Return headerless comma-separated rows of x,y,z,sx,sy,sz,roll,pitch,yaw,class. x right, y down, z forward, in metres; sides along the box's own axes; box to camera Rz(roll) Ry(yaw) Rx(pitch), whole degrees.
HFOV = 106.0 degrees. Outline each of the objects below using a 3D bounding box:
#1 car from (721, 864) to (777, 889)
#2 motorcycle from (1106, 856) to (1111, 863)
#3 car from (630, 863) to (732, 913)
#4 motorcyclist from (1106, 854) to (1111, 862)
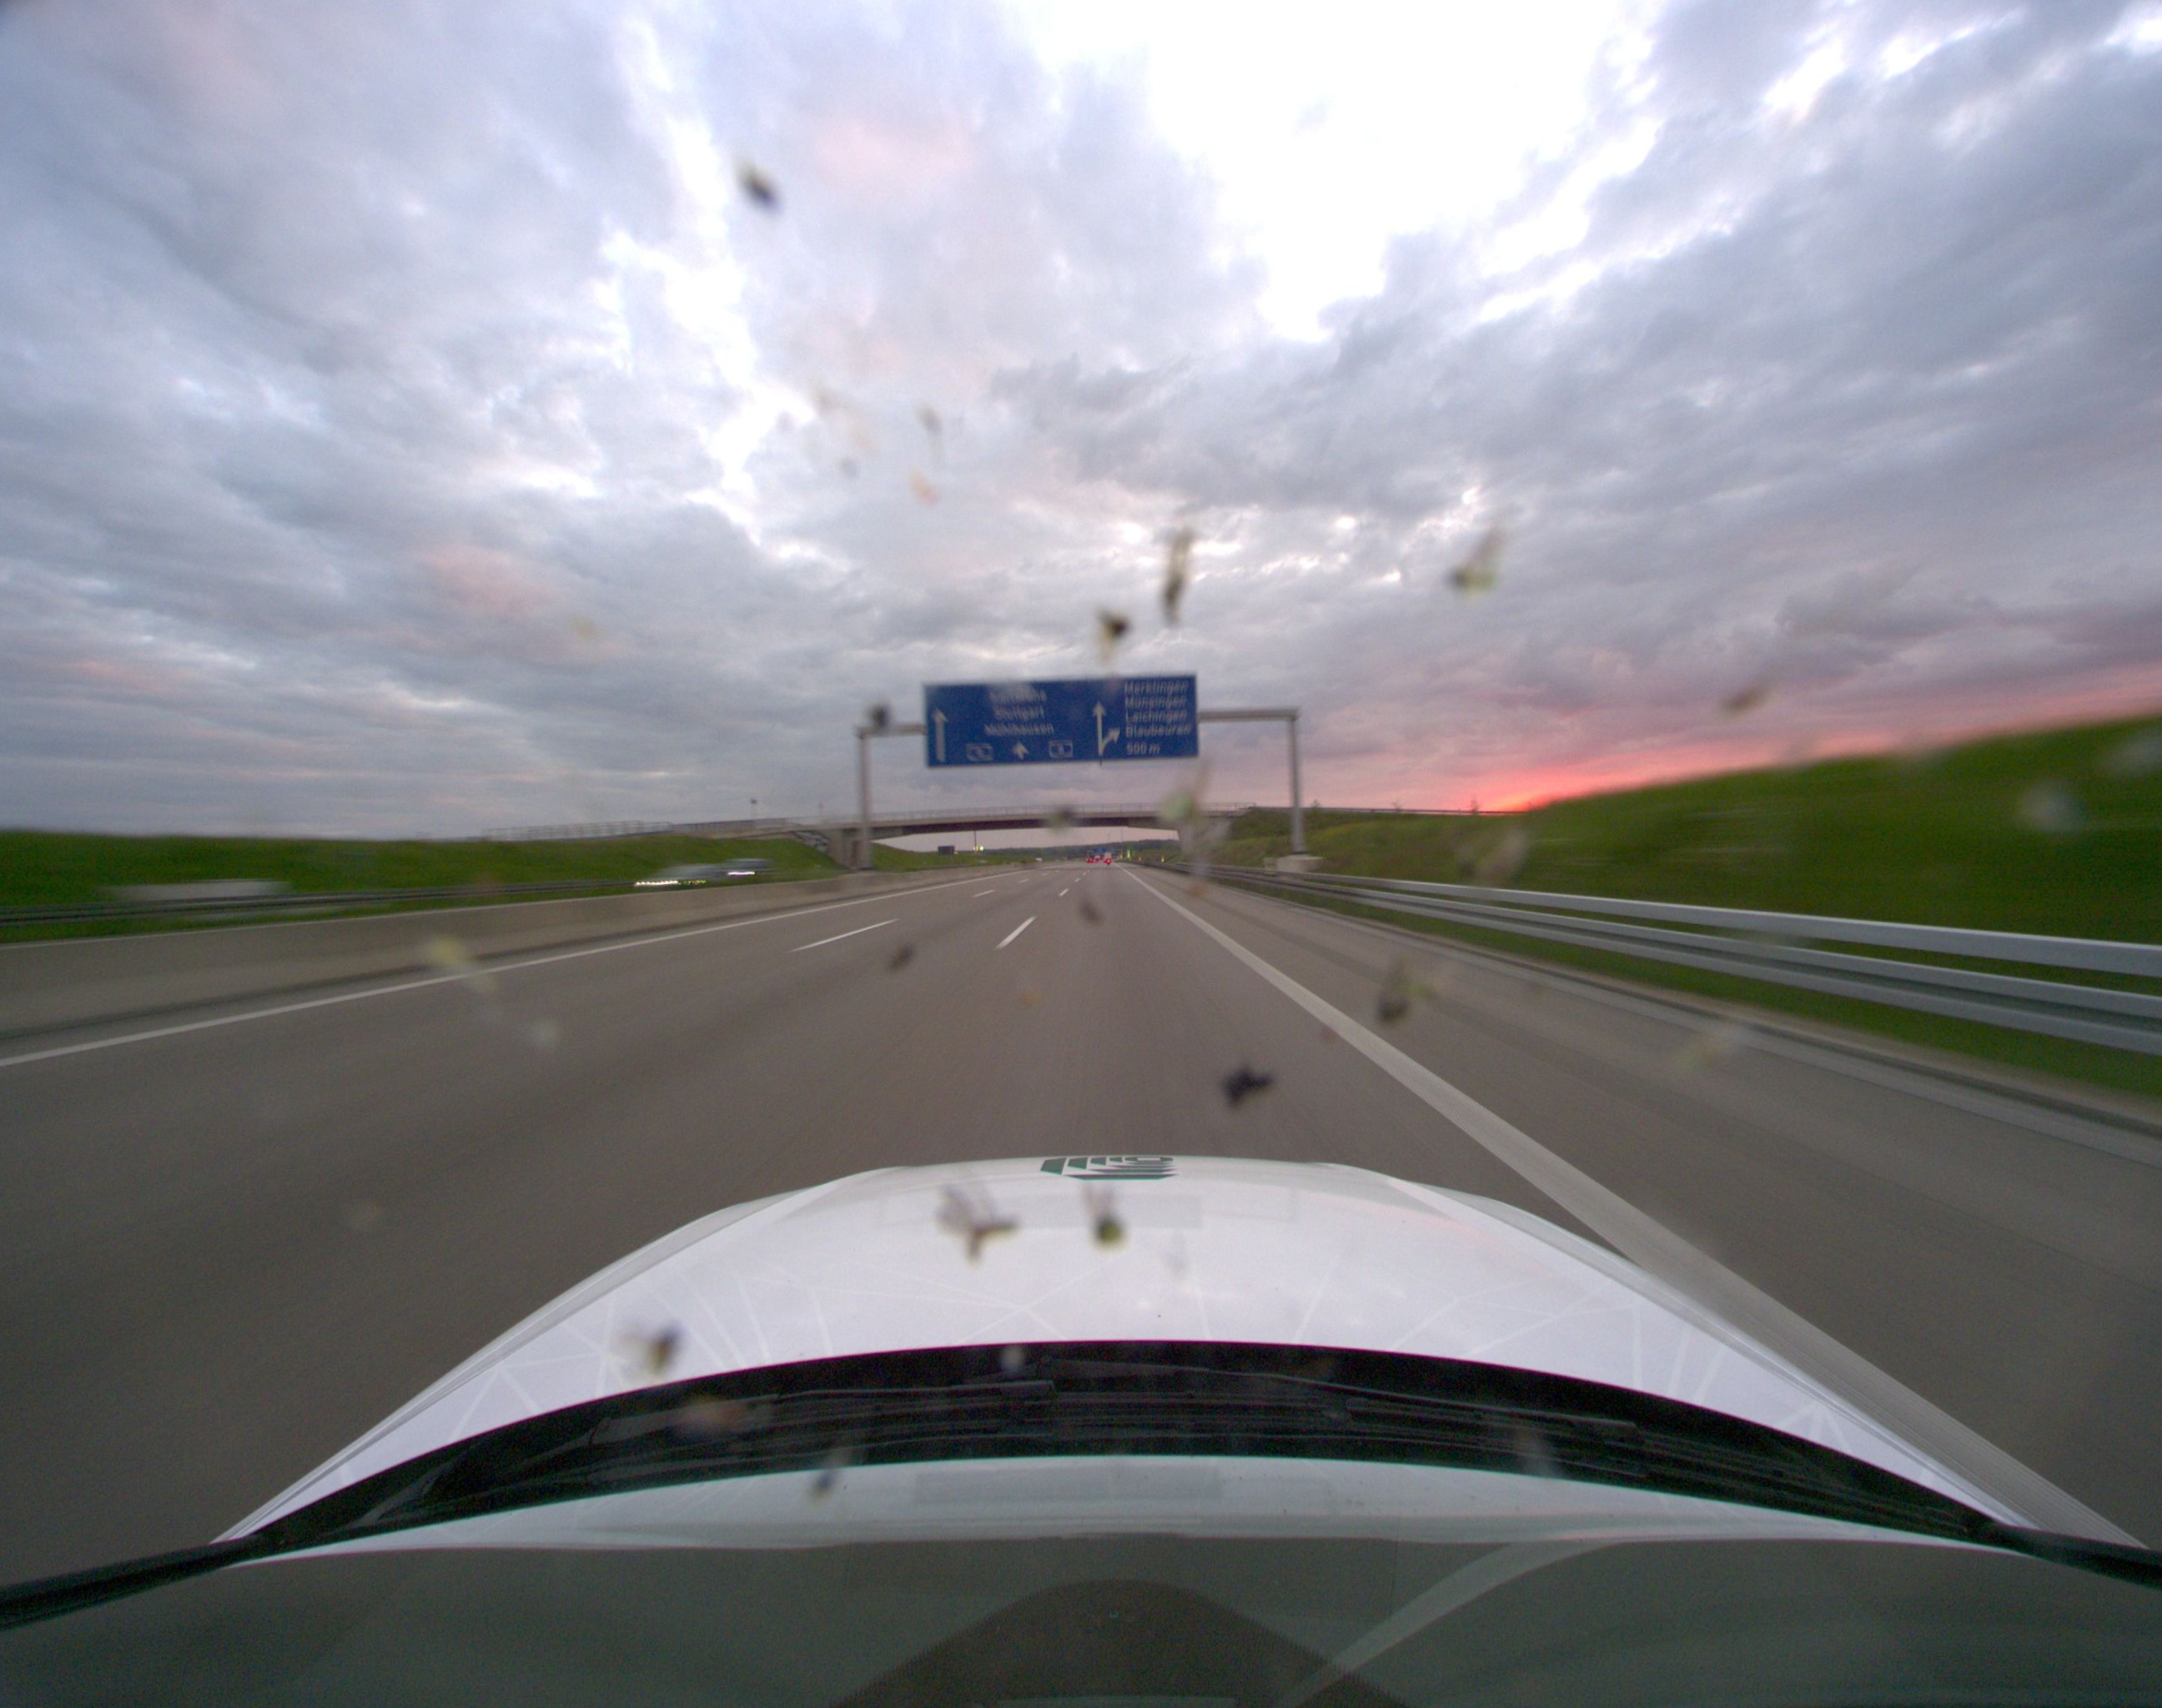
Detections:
-20.716,1.350,51.002,1.807,1.458,4.001,0,0,2,car
4.953,0.964,145.383,0.898,1.346,2.349,-2,0,2,motorcycle
-17.592,1.434,36.121,1.986,2.014,4.905,0,0,2,car
4.968,0.710,145.321,0.862,1.488,1.169,0,0,3,motorcyclist
